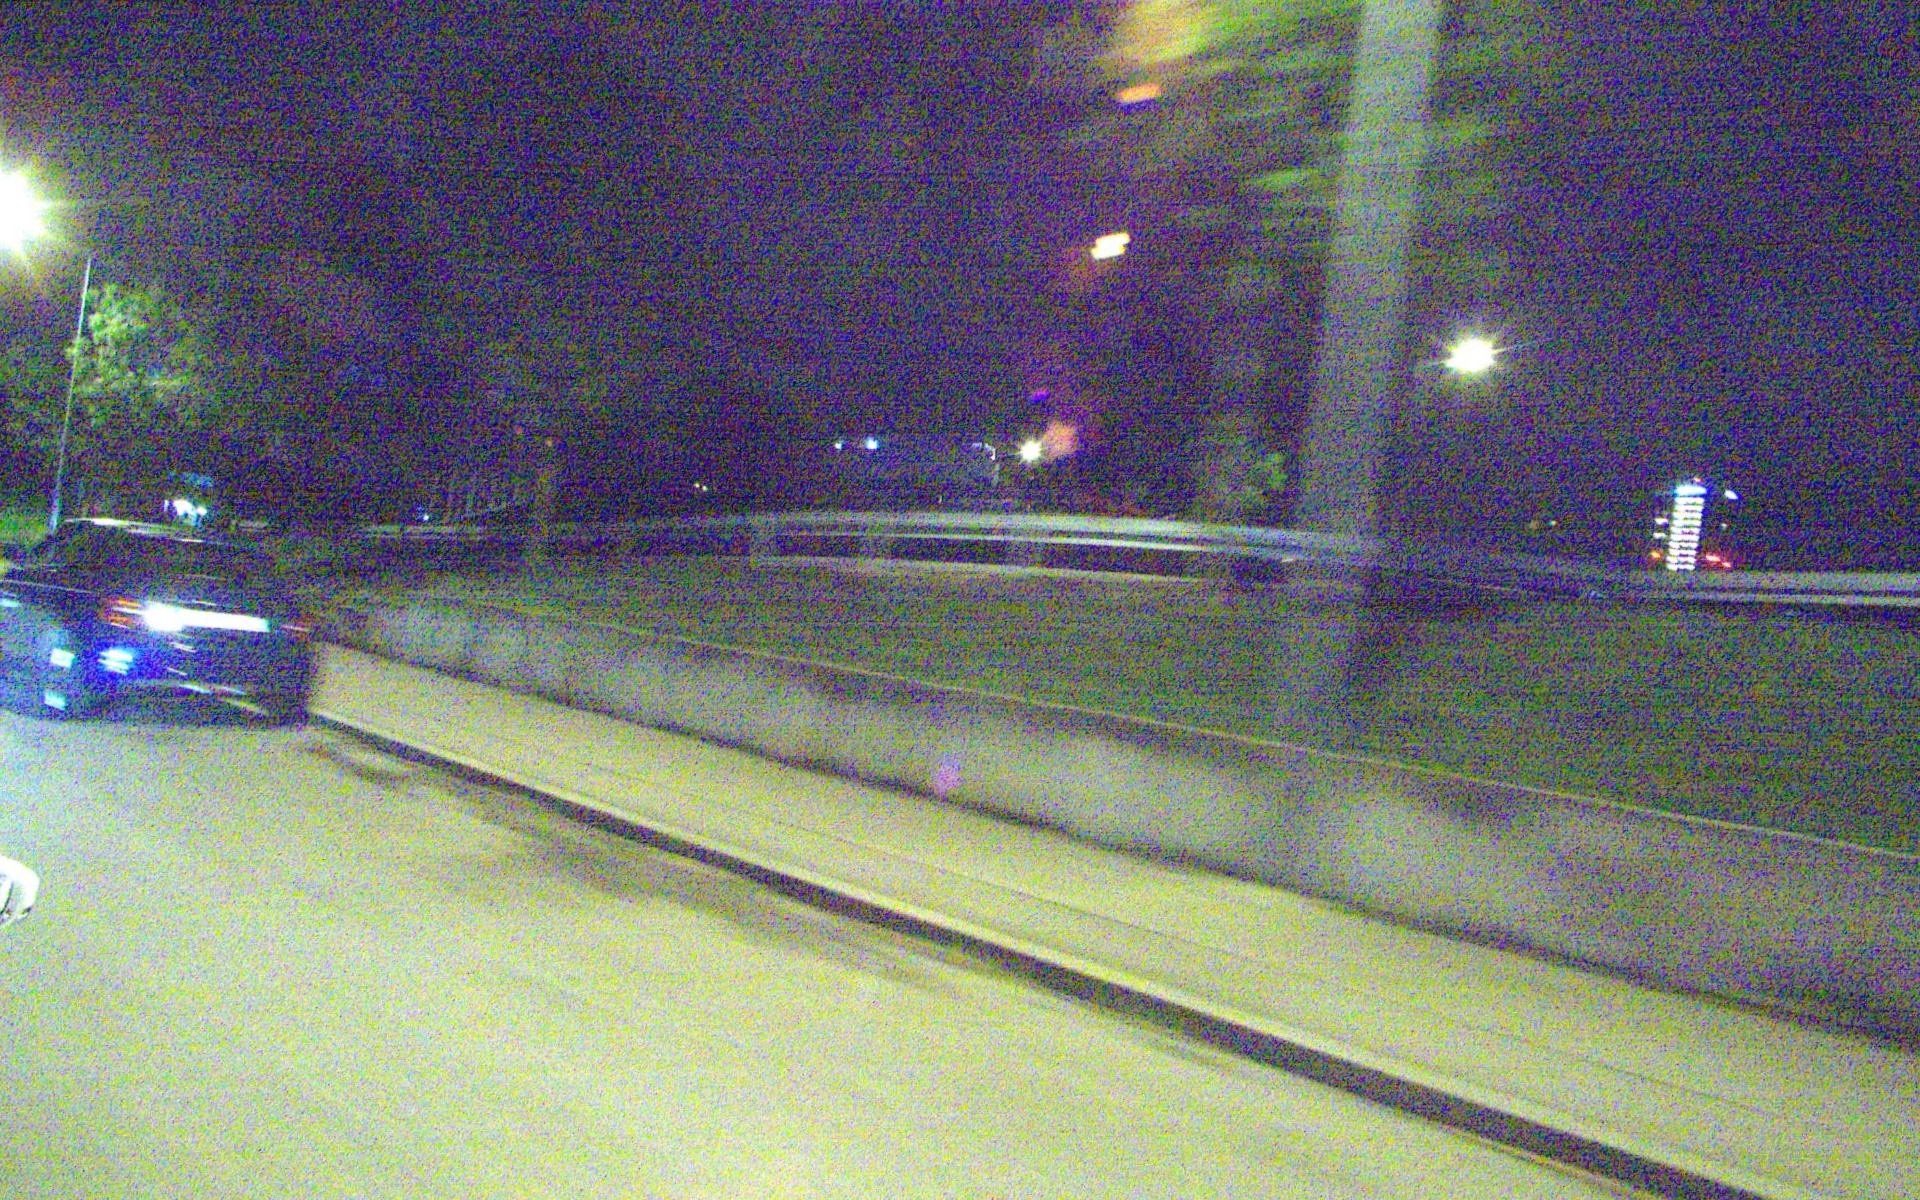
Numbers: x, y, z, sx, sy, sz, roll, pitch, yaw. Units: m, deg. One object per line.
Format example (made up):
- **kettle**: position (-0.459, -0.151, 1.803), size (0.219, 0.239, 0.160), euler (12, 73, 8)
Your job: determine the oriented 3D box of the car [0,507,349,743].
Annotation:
- **car**: position (-7.165, 0.144, 8.740), size (3.764, 1.528, 1.611), euler (7, -3, 34)
